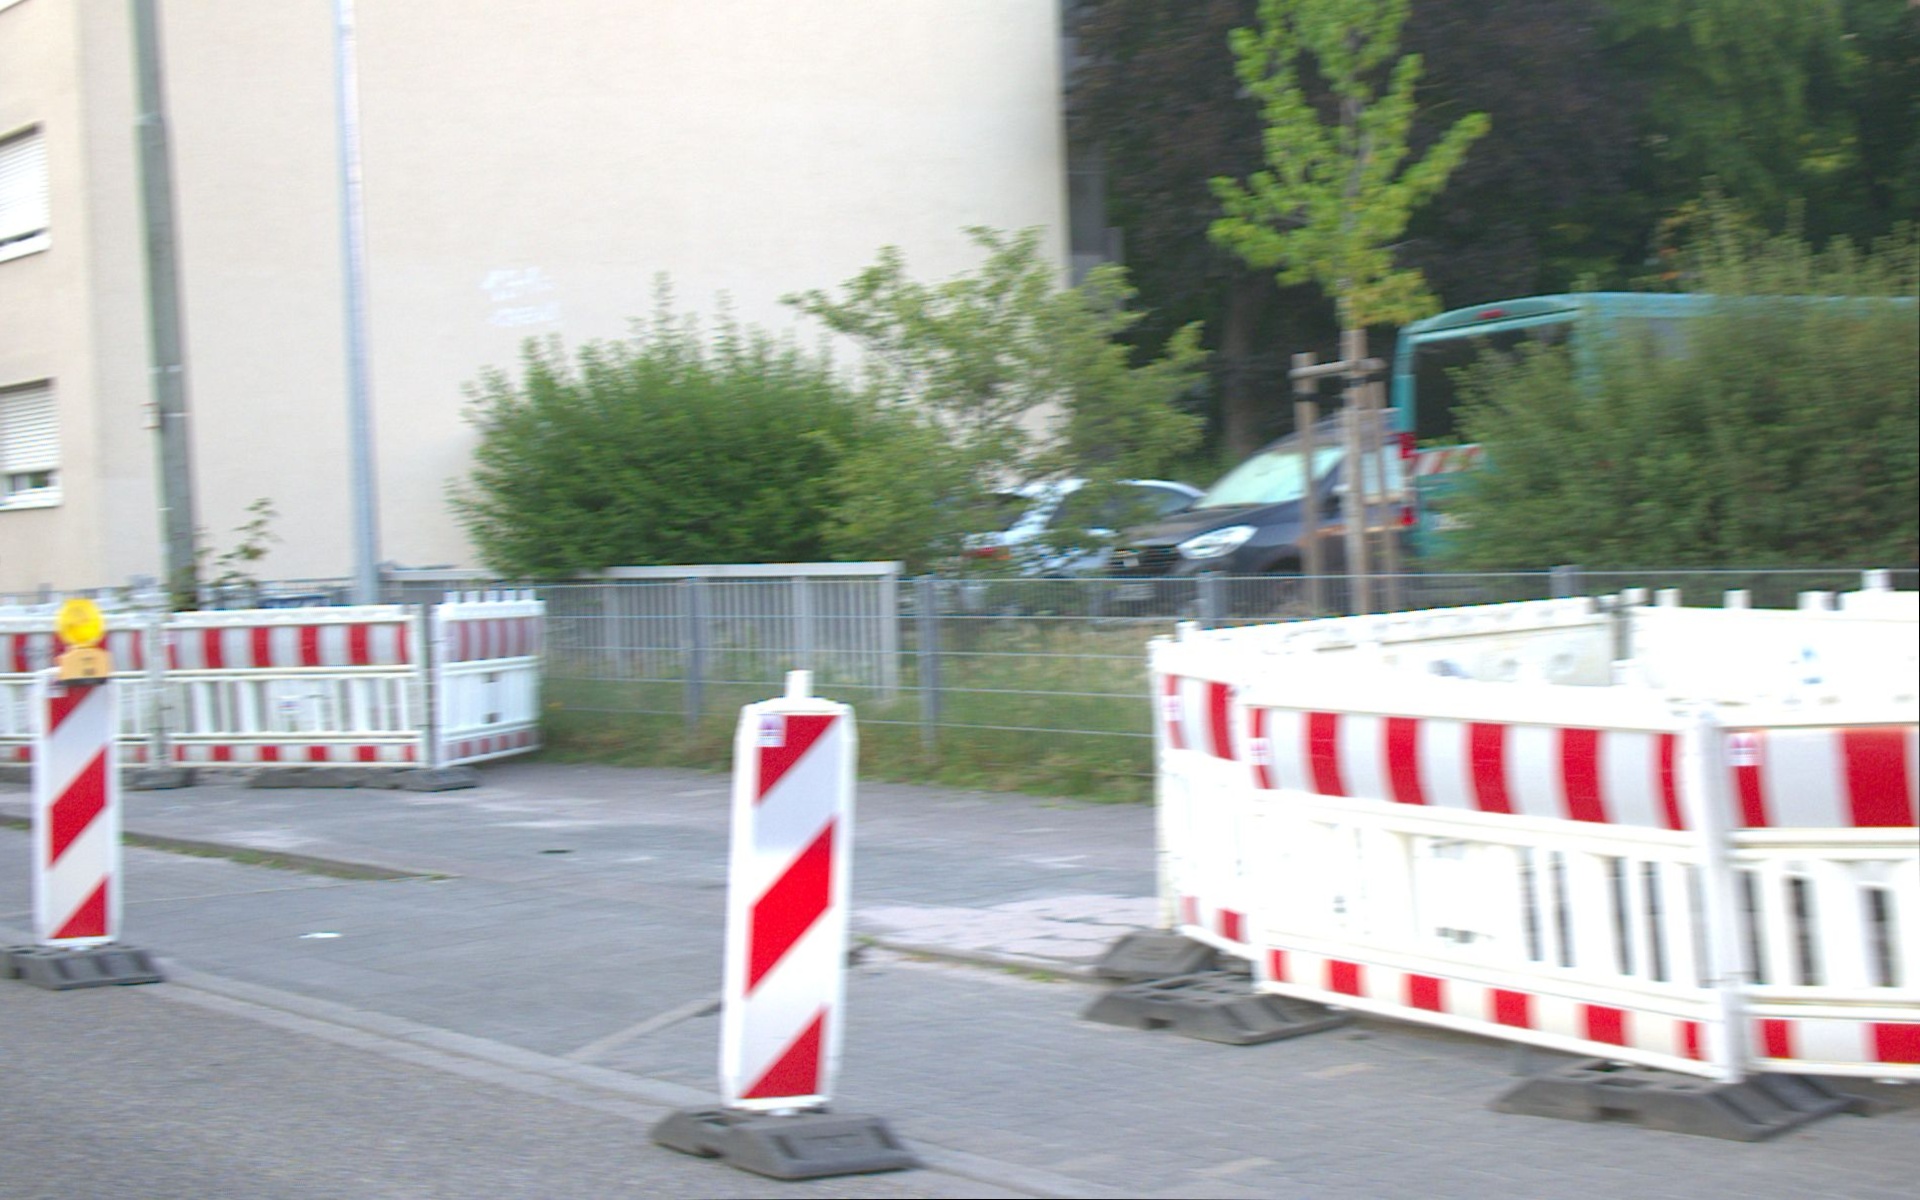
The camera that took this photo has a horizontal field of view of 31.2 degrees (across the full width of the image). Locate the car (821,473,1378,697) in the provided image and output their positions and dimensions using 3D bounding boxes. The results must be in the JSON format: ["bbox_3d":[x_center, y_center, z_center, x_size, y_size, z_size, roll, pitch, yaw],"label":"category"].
[{"bbox_3d":[1.192,-0.157,28.797,4.213,1.641,2.000,-3,1,-32],"label":"car"}]

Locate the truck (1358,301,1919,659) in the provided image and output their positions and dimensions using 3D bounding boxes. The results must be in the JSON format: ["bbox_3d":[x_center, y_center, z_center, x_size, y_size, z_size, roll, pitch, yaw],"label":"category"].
[{"bbox_3d":[5.057,-0.798,22.111,4.497,2.083,2.112,-3,1,-28],"label":"truck"}]

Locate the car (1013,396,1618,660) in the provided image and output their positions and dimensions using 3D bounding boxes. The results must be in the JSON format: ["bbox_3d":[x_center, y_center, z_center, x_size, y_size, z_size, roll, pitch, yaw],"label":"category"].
[{"bbox_3d":[2.752,-0.576,26.359,4.213,1.820,2.000,-3,1,-32],"label":"car"}]
